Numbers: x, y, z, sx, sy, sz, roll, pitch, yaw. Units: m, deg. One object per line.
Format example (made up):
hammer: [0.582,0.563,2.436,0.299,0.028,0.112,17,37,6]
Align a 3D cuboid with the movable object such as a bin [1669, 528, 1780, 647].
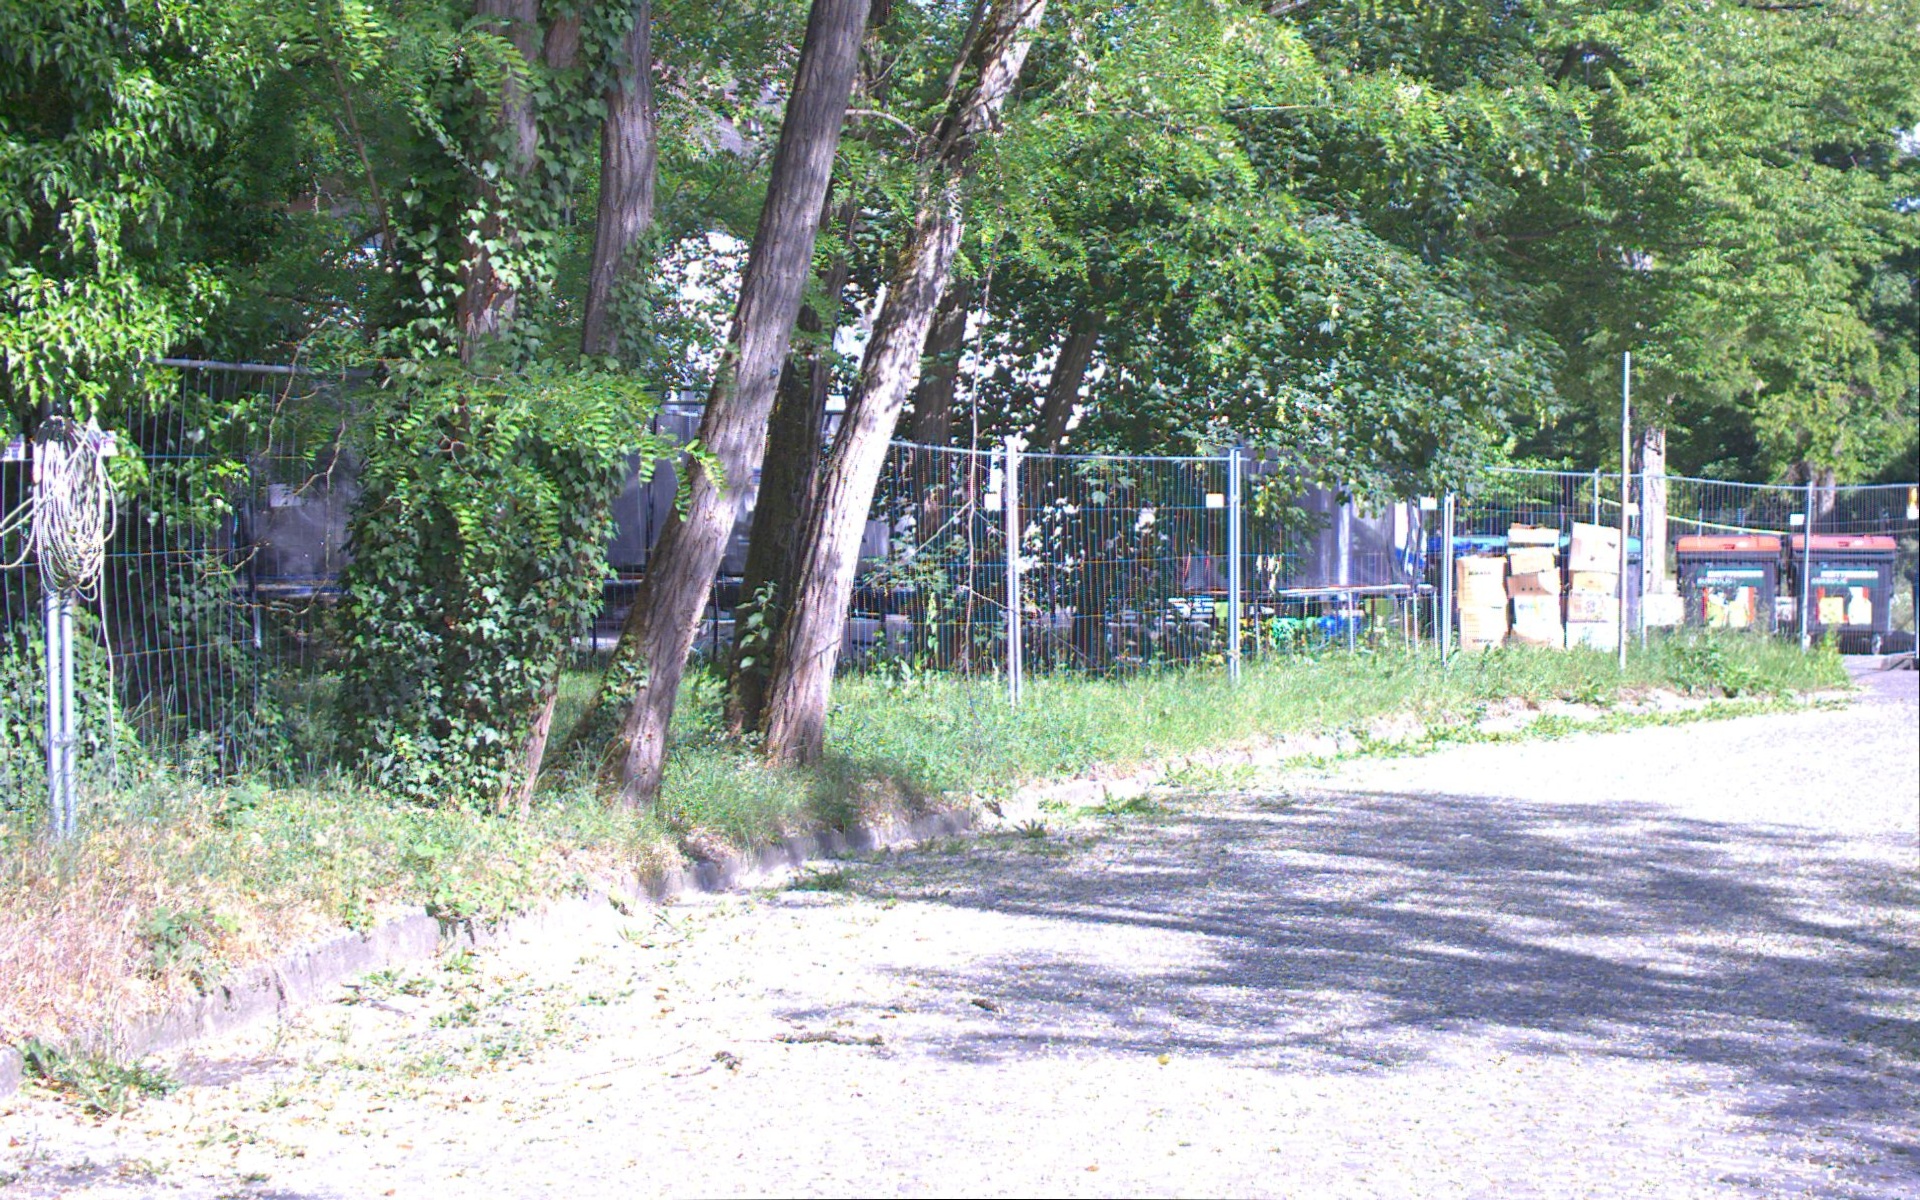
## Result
movable object such as a bin: [9.323,-0.158,41.951,1.288,1.421,1.032,-1,1,12]

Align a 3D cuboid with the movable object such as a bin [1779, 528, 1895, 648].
movable object such as a bin: [10.623,-0.147,41.686,1.288,1.421,1.032,-1,1,11]

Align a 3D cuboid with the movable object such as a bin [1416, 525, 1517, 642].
movable object such as a bin: [6.279,-0.208,42.600,1.085,1.433,1.055,-1,1,16]

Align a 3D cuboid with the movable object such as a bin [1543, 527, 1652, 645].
movable object such as a bin: [7.856,-0.178,42.328,1.288,1.421,1.032,-1,1,12]

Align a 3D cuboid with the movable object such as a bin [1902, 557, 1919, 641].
movable object such as a bin: [11.711,-0.016,41.246,0.642,1.004,0.604,0,1,30]
